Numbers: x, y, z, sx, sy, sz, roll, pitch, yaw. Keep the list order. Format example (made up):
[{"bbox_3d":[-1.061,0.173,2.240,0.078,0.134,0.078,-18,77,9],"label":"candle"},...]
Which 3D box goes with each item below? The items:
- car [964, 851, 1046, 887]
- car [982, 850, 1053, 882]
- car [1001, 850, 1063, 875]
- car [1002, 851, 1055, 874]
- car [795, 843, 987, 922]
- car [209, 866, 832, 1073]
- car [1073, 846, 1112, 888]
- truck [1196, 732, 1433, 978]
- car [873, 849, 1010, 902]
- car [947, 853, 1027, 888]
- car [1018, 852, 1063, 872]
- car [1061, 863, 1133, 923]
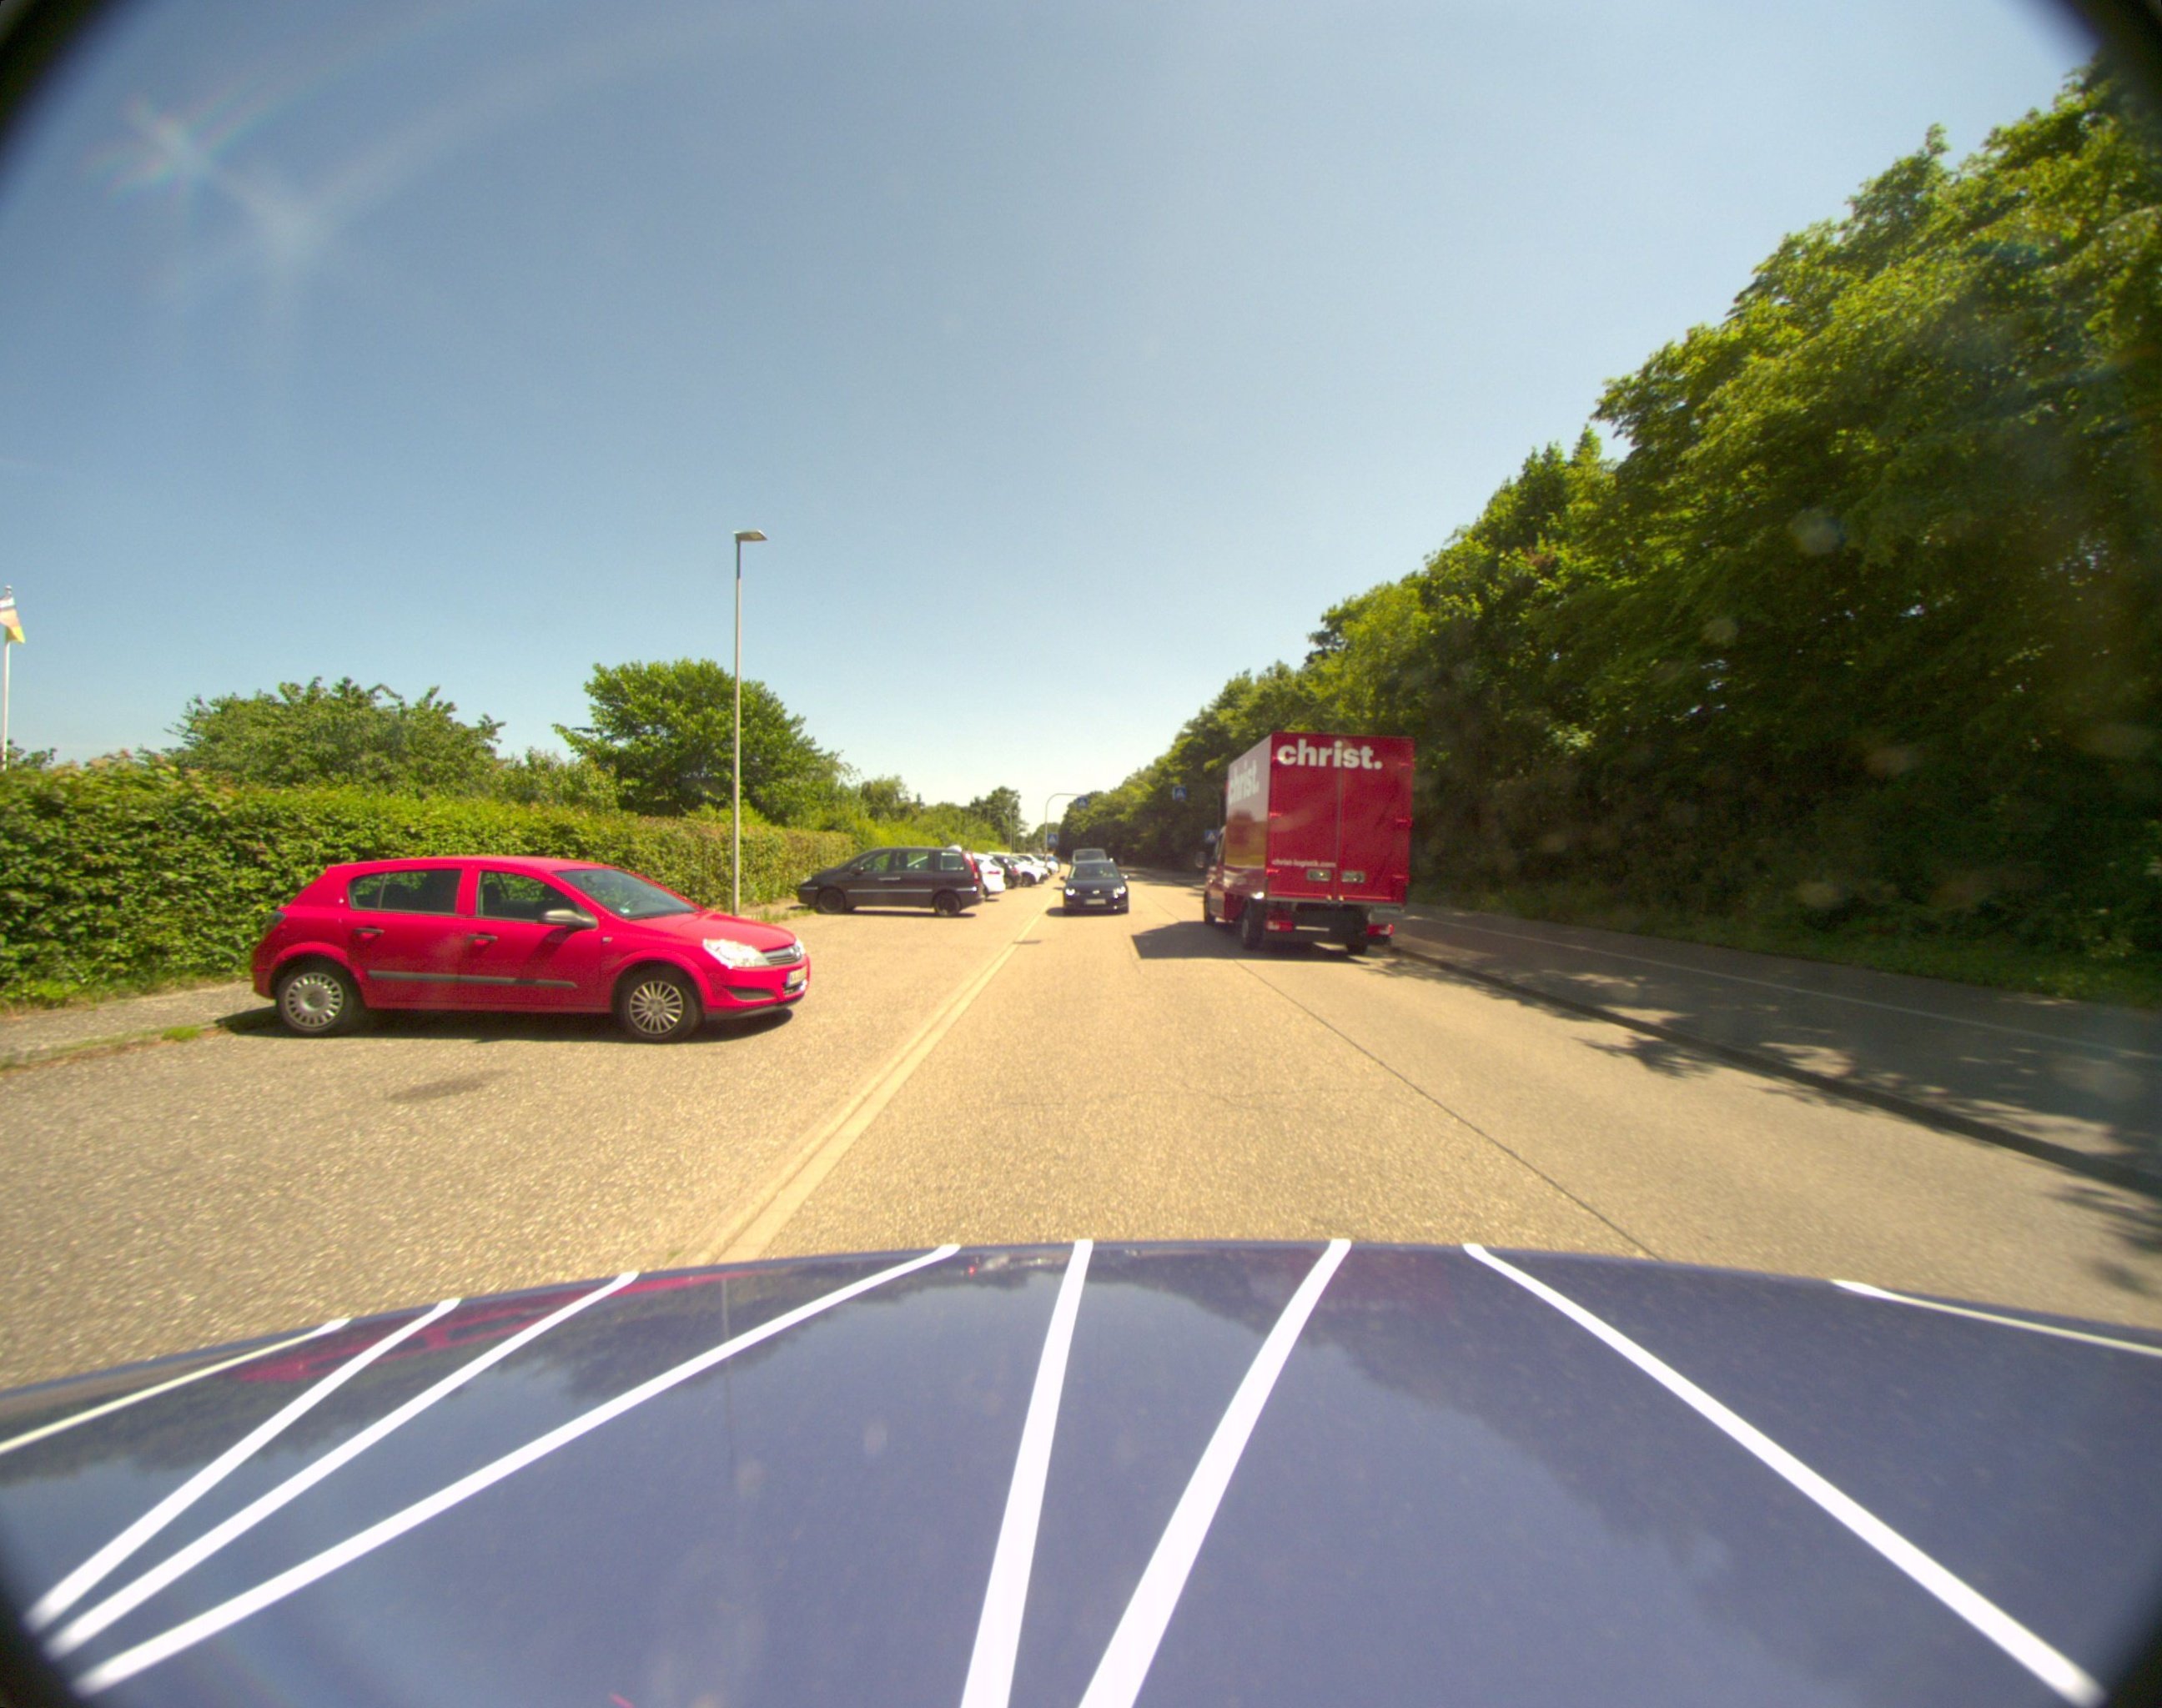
[{"bbox_3d":[-3.806,0.740,38.271,3.974,1.514,1.863,3,0,-5],"label":"car"},{"bbox_3d":[-3.657,0.689,44.078,3.971,1.631,1.663,3,0,-4],"label":"car"},{"bbox_3d":[-3.653,0.636,57.177,4.464,1.719,1.851,2,1,1],"label":"car"},{"bbox_3d":[-4.092,0.653,59.920,3.983,1.676,1.766,2,0,-1],"label":"car"},{"bbox_3d":[-4.759,0.696,19.621,4.465,1.794,1.952,2,1,-4],"label":"car"},{"bbox_3d":[-4.556,0.911,6.726,4.065,1.425,1.835,2,0,-2],"label":"car"},{"bbox_3d":[0.502,0.615,38.162,1.743,1.905,4.387,-1,0,-2],"label":"car"},{"bbox_3d":[3.886,0.019,14.479,2.328,3.420,7.161,3,0,1],"label":"truck"},{"bbox_3d":[-4.660,0.711,25.776,4.287,1.569,1.765,2,0,-2],"label":"car"},{"bbox_3d":[-4.305,0.756,35.238,3.395,1.495,1.588,2,0,4],"label":"car"},{"bbox_3d":[-3.692,0.681,69.704,4.036,1.632,1.673,2,1,-1],"label":"car"},{"bbox_3d":[0.339,0.990,20.992,1.743,1.396,4.387,-1,0,-2],"label":"car"}]
